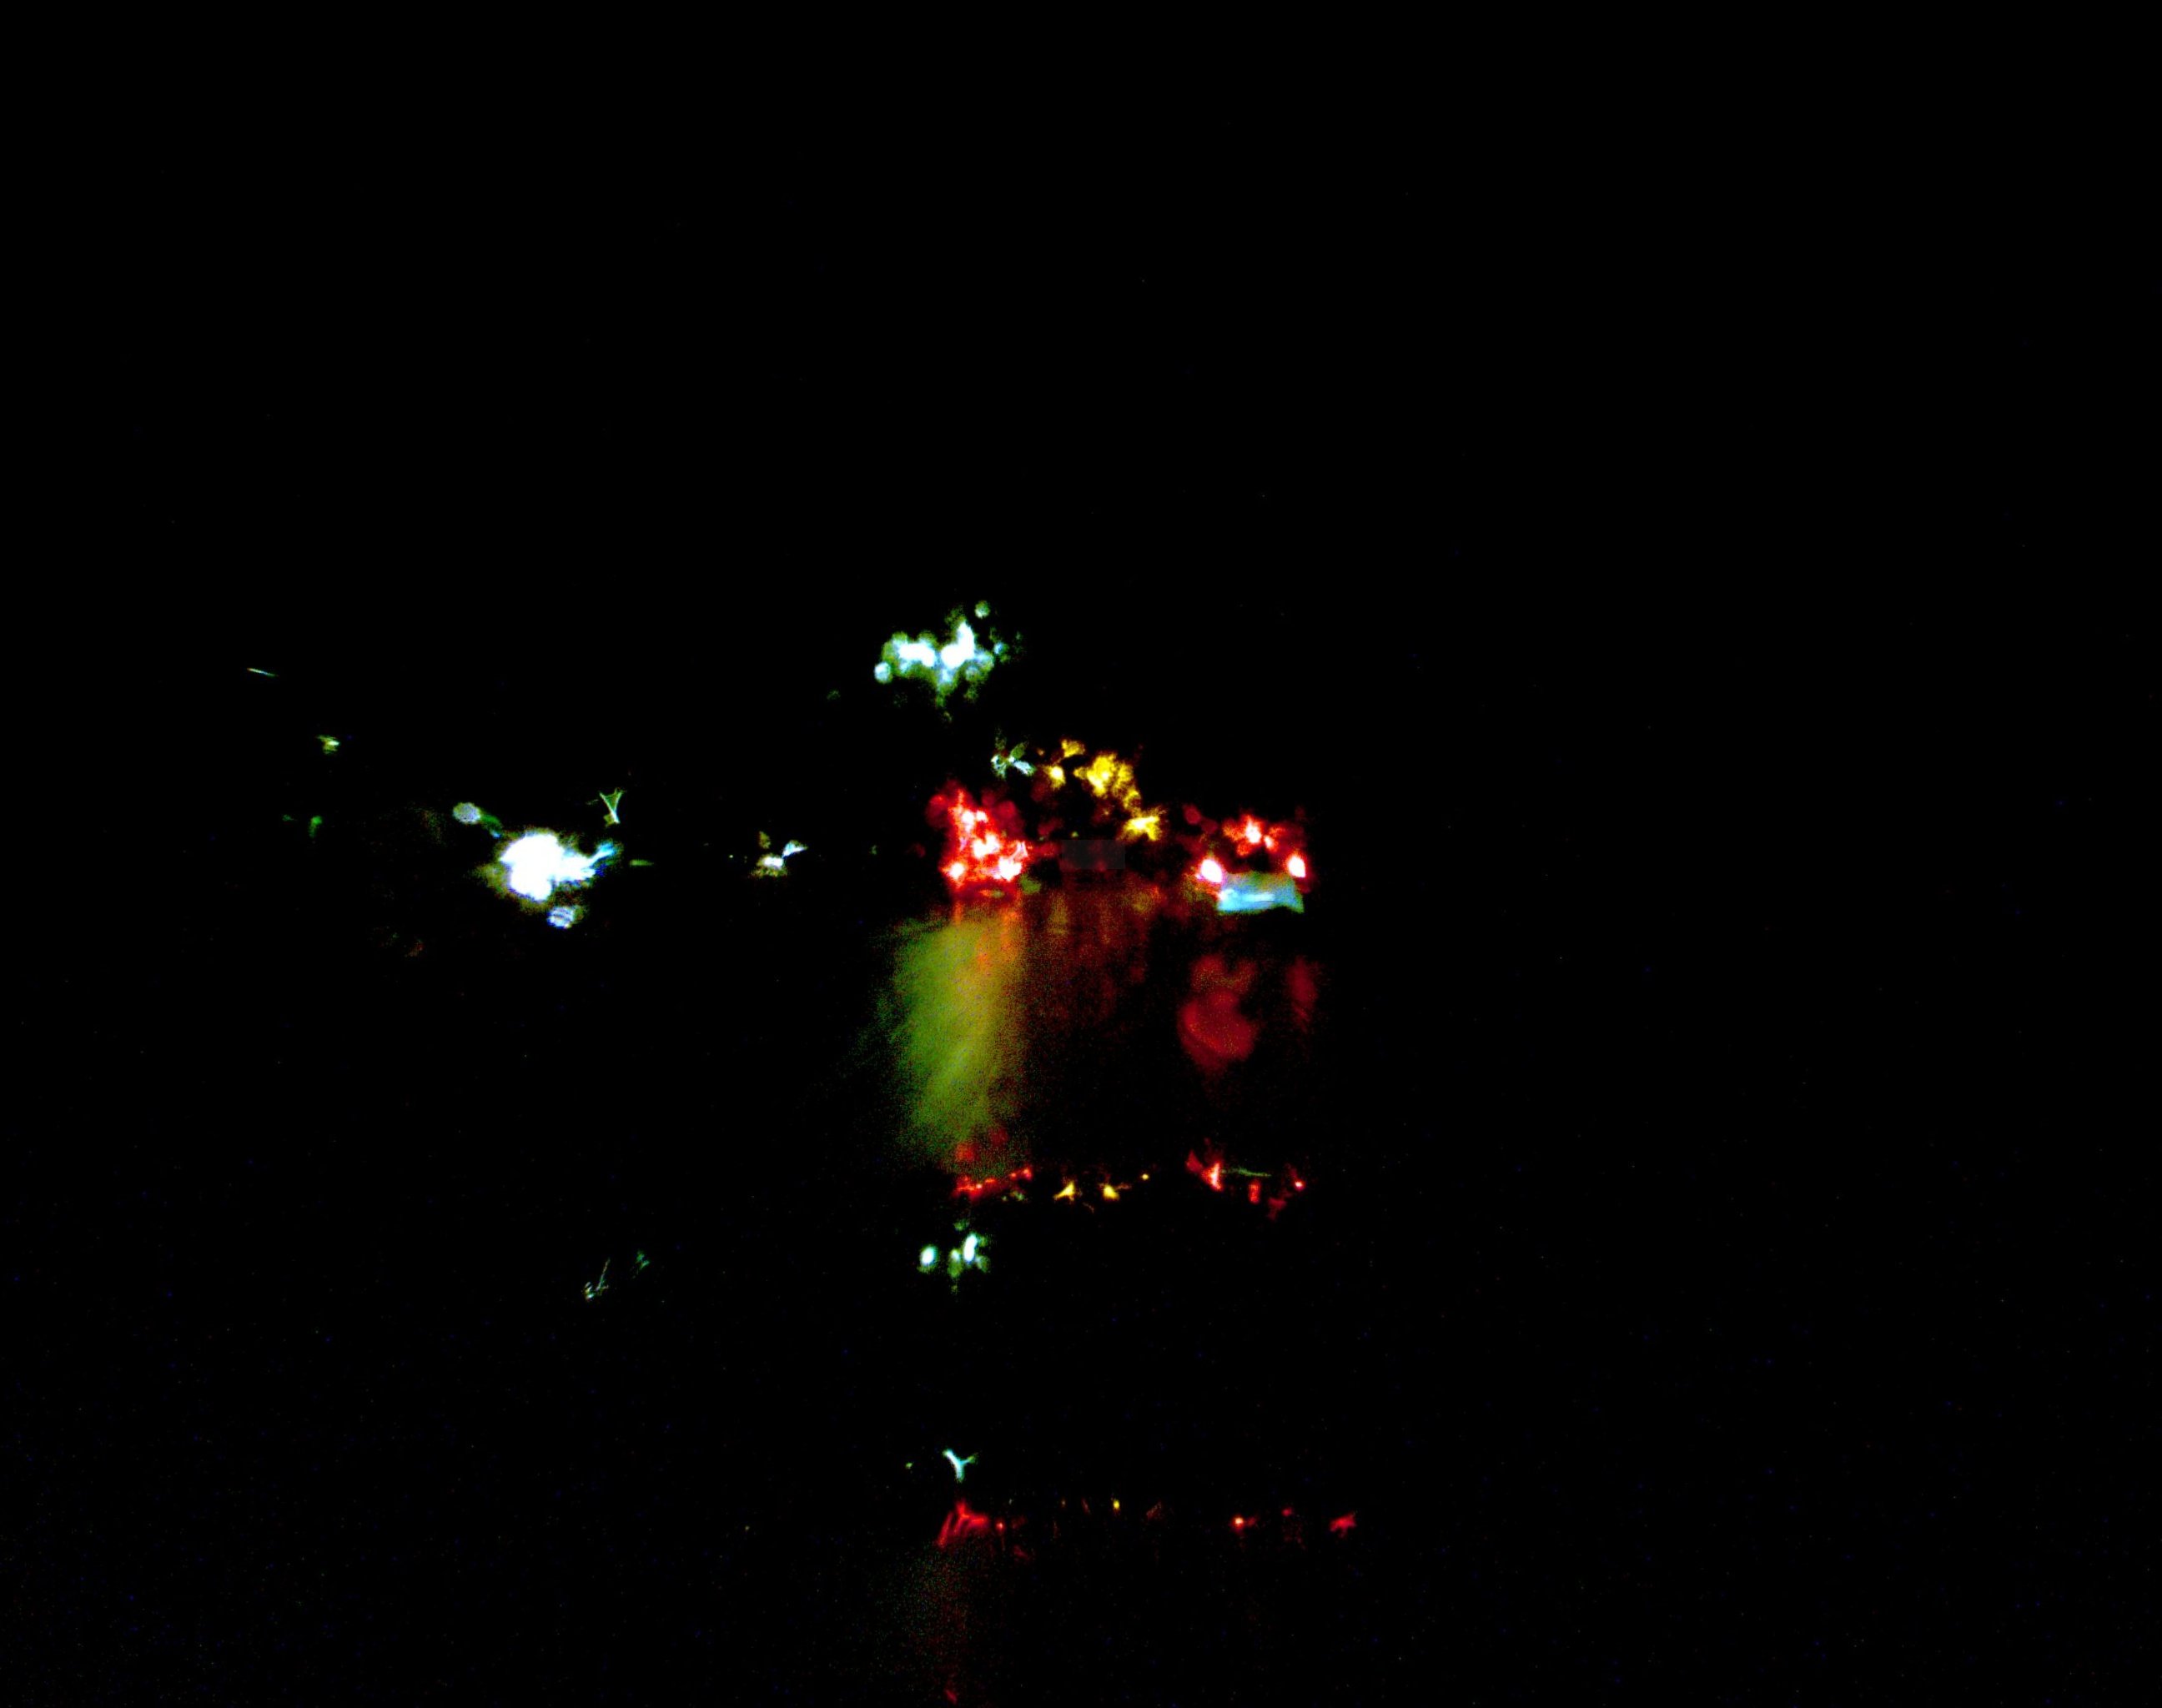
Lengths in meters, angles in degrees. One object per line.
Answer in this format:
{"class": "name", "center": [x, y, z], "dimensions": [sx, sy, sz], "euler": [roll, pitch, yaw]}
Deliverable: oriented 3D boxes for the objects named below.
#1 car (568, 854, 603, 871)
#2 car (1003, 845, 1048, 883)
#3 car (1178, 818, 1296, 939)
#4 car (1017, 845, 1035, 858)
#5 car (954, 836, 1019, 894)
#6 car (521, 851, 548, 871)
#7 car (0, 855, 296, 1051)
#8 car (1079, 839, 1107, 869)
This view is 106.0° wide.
{"class": "car", "center": [-46.678, 0.777, 76.754], "dimensions": [1.724, 1.519, 3.981], "euler": [0, 0, -14]}
{"class": "car", "center": [-2.418, 0.411, 36.440], "dimensions": [1.779, 1.511, 4.433], "euler": [-2, 0, -2]}
{"class": "car", "center": [2.904, 0.424, 16.041], "dimensions": [1.783, 2.022, 4.585], "euler": [-1, 0, 5]}
{"class": "car", "center": [-7.703, -0.302, 114.659], "dimensions": [1.986, 1.717, 4.001], "euler": [3, -1, 2]}
{"class": "car", "center": [-3.155, 0.327, 27.981], "dimensions": [1.779, 1.782, 4.433], "euler": [-1, 1, -2]}
{"class": "car", "center": [-43.367, 0.522, 64.682], "dimensions": [1.521, 1.518, 4.330], "euler": [1, -1, -32]}
{"class": "car", "center": [-10.072, 0.845, 7.261], "dimensions": [1.757, 1.641, 4.648], "euler": [0, 0, -3]}
{"class": "car", "center": [0.827, -0.036, 58.665], "dimensions": [1.786, 2.022, 4.577], "euler": [-1, 0, -1]}
